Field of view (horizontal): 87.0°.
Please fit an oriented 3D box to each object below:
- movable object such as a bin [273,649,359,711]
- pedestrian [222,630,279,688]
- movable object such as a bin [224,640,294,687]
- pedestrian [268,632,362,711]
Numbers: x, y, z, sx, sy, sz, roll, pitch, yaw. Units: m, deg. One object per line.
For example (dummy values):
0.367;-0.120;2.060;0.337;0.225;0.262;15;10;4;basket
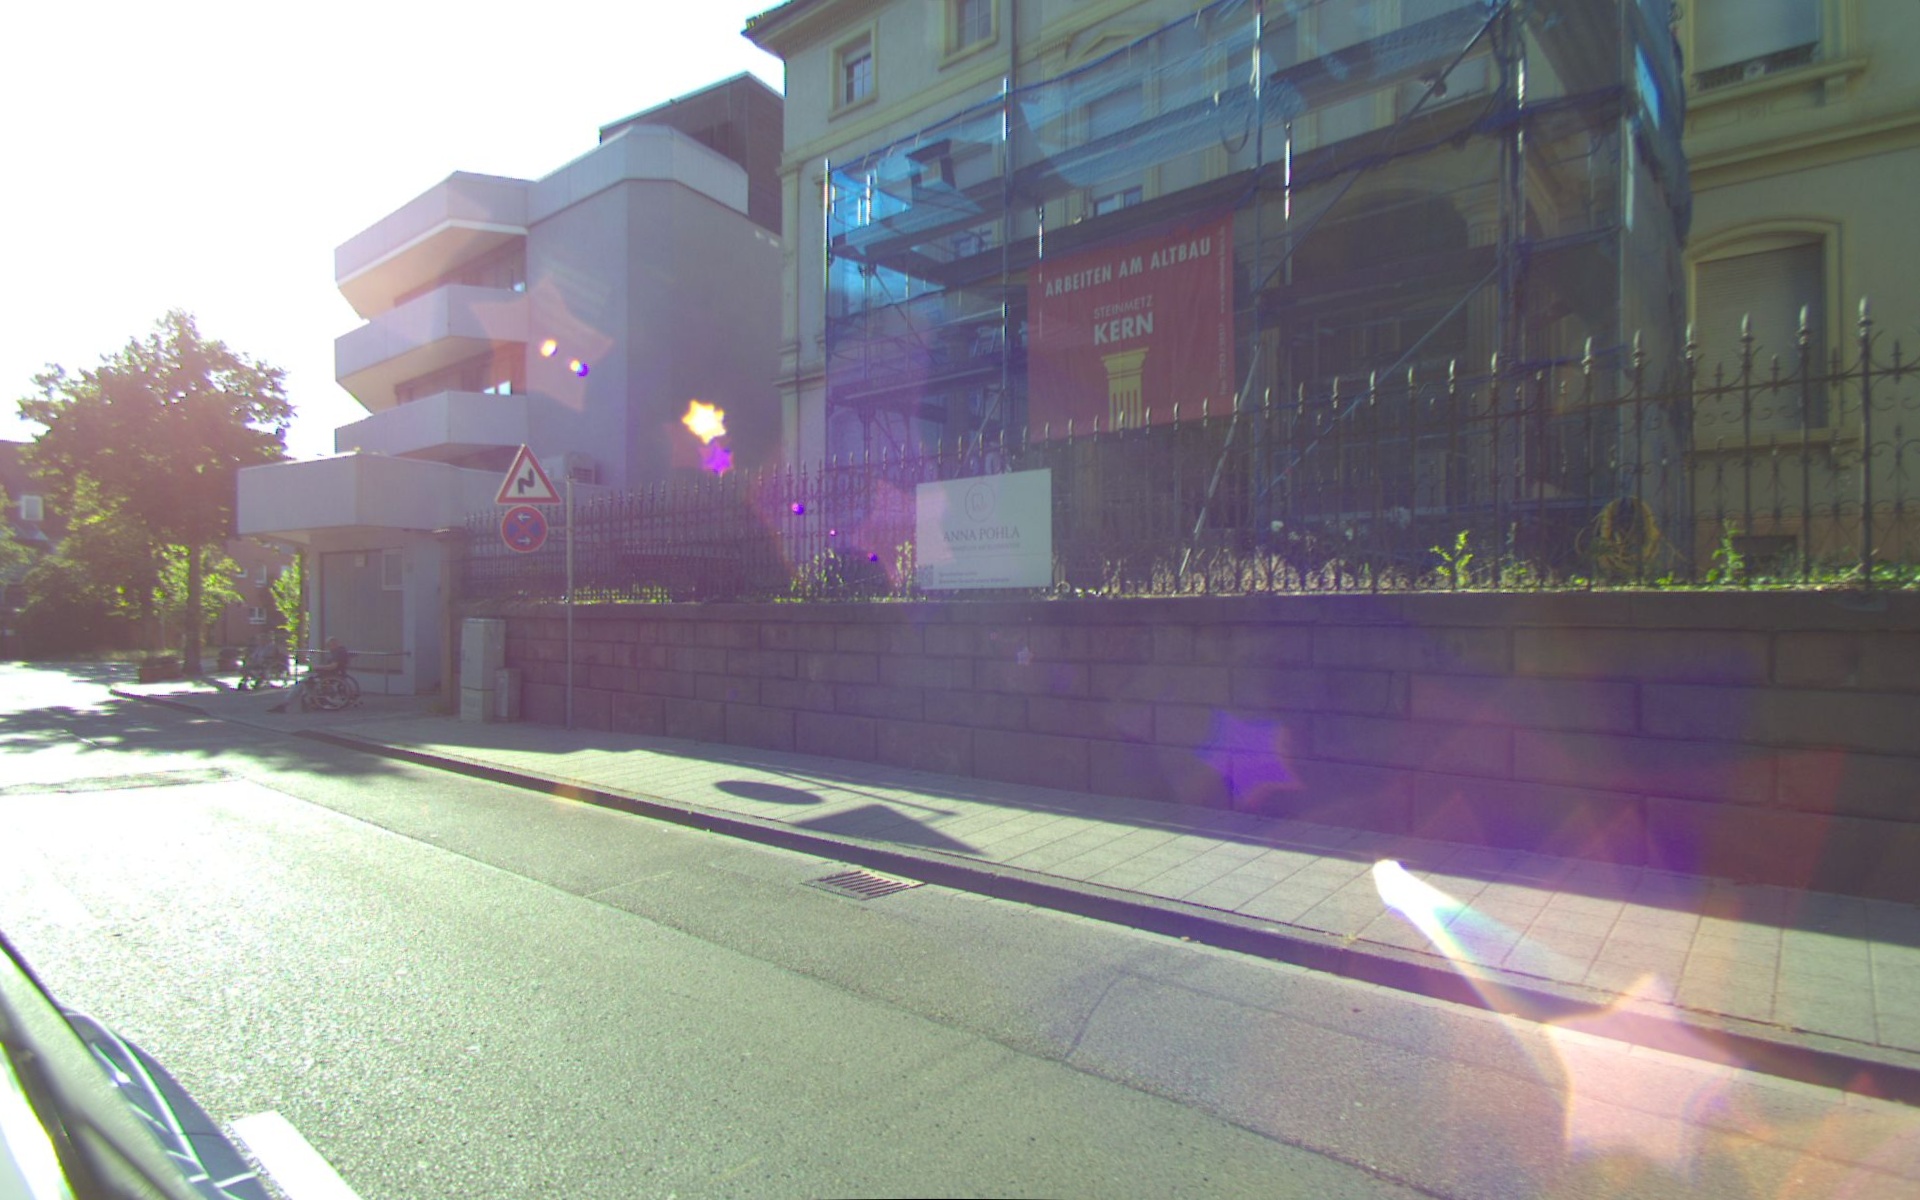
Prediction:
-11.072;1.362;17.438;1.020;0.935;0.843;-2;0;-14;movable object such as a bin
-15.537;1.279;22.165;0.839;1.194;0.734;-1;1;34;pedestrian
-15.433;1.383;22.301;0.838;0.935;1.026;-1;1;34;movable object such as a bin
-11.090;1.209;17.438;1.139;1.238;0.843;-2;1;-14;pedestrian
